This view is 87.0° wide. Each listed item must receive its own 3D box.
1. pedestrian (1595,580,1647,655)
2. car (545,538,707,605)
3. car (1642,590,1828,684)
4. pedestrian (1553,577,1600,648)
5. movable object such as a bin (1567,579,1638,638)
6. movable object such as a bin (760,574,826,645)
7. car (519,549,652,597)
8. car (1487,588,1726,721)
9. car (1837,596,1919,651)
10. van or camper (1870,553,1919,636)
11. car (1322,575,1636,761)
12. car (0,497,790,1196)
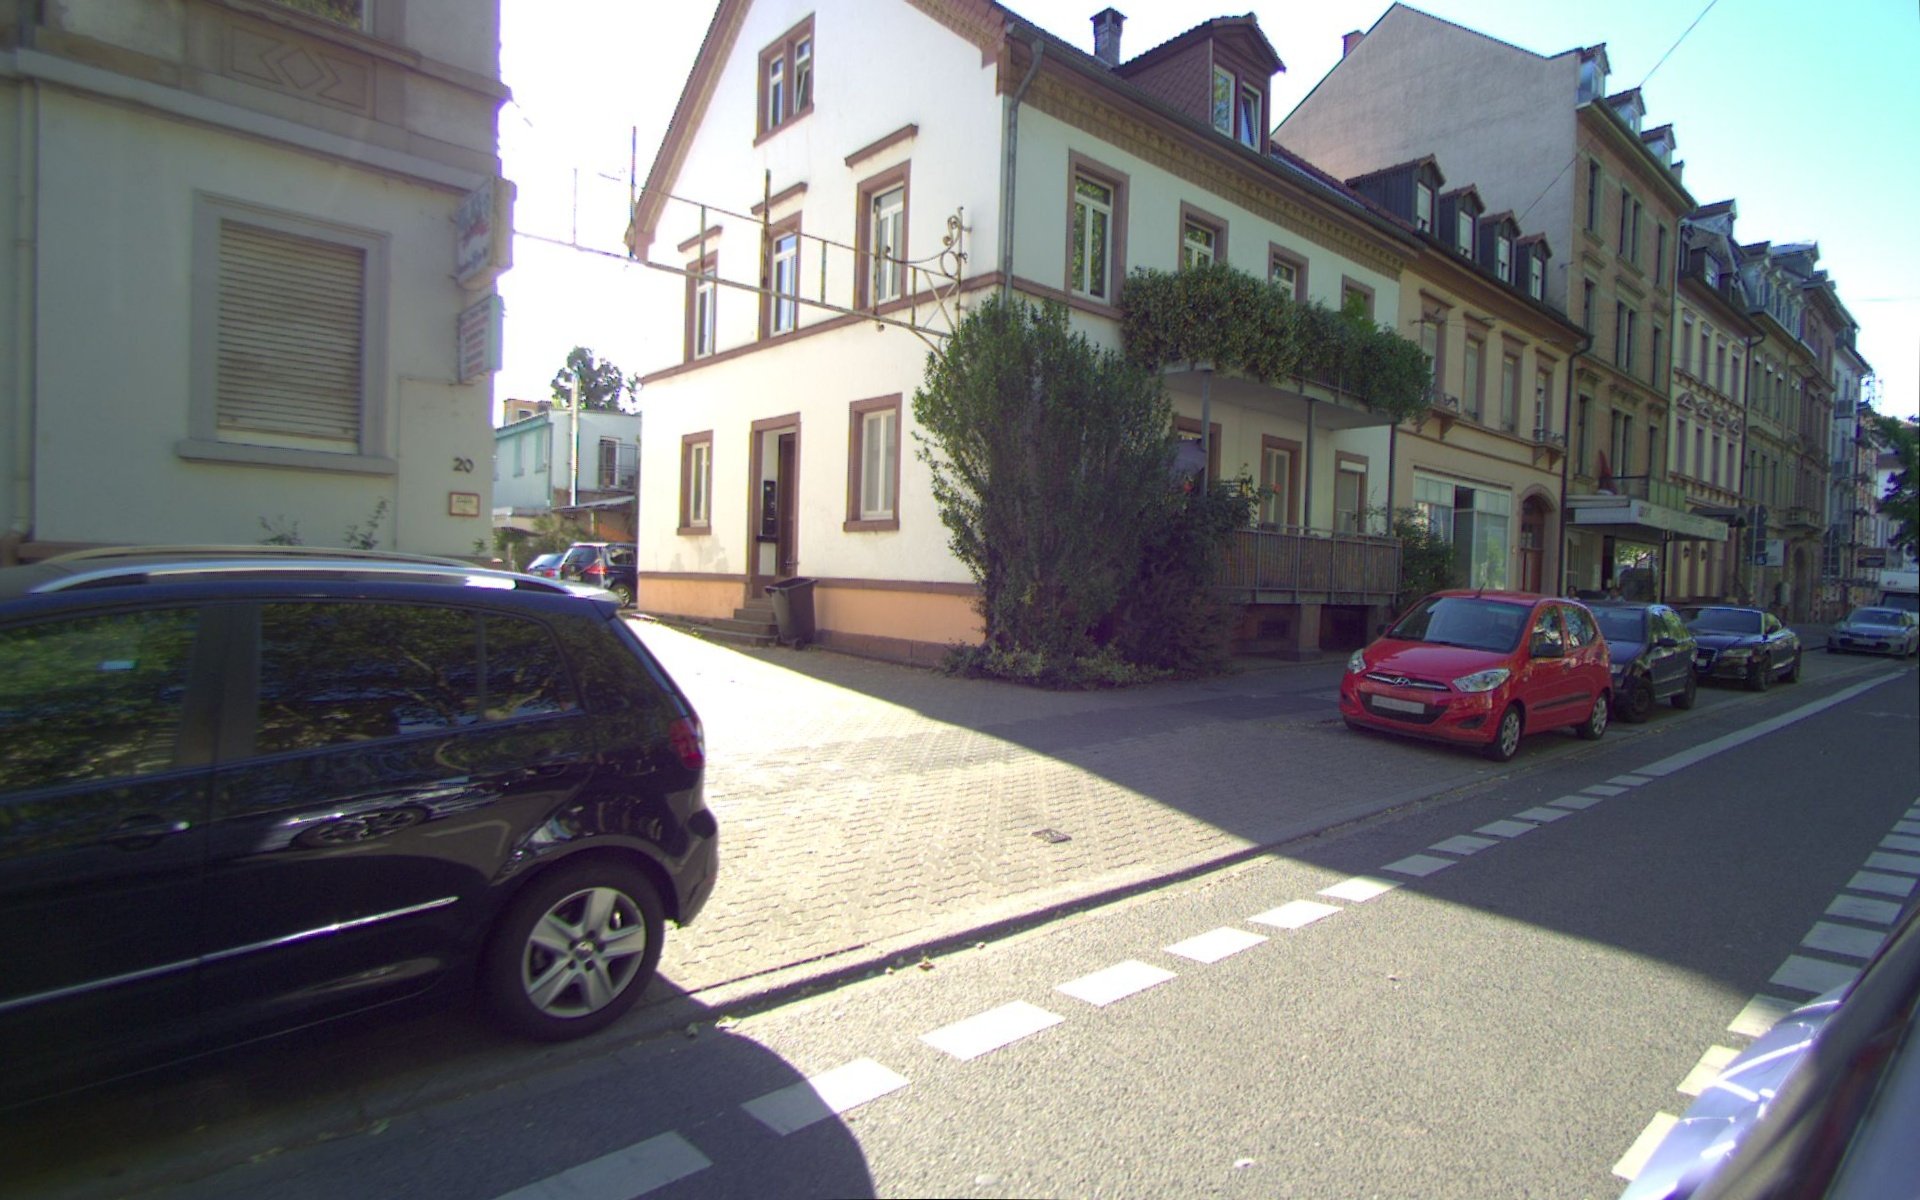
[{"bbox_3d":[13.990,0.351,21.415,0.851,1.523,0.661,0,2,-42],"label":"pedestrian"},{"bbox_3d":[-8.369,-0.708,25.510,3.515,1.565,1.622,0,3,-42],"label":"car"},{"bbox_3d":[13.993,0.580,18.177,4.414,1.409,1.698,0,3,-40],"label":"car"},{"bbox_3d":[13.414,0.254,22.028,0.772,1.501,0.659,0,1,-42],"label":"pedestrian"},{"bbox_3d":[17.413,0.218,27.424,1.264,1.539,1.296,0,1,-41],"label":"movable object such as a bin"},{"bbox_3d":[-2.636,0.129,16.024,0.781,1.039,0.629,-5,5,-43],"label":"movable object such as a bin"},{"bbox_3d":[-11.122,-0.799,30.140,3.388,1.318,1.578,0,3,-40],"label":"car"},{"bbox_3d":[8.747,0.615,13.579,3.801,1.474,1.654,0,3,-41],"label":"car"},{"bbox_3d":[28.157,0.655,30.636,4.584,1.452,1.813,0,3,-42],"label":"car"},{"bbox_3d":[38.672,-0.168,40.208,7.744,3.007,2.484,0,5,-40],"label":"van or camper"},{"bbox_3d":[5.485,0.573,10.556,3.512,1.565,1.638,0,3,-40],"label":"car"},{"bbox_3d":[-2.709,0.516,3.161,3.867,1.604,1.884,0,5,-43],"label":"car"}]
